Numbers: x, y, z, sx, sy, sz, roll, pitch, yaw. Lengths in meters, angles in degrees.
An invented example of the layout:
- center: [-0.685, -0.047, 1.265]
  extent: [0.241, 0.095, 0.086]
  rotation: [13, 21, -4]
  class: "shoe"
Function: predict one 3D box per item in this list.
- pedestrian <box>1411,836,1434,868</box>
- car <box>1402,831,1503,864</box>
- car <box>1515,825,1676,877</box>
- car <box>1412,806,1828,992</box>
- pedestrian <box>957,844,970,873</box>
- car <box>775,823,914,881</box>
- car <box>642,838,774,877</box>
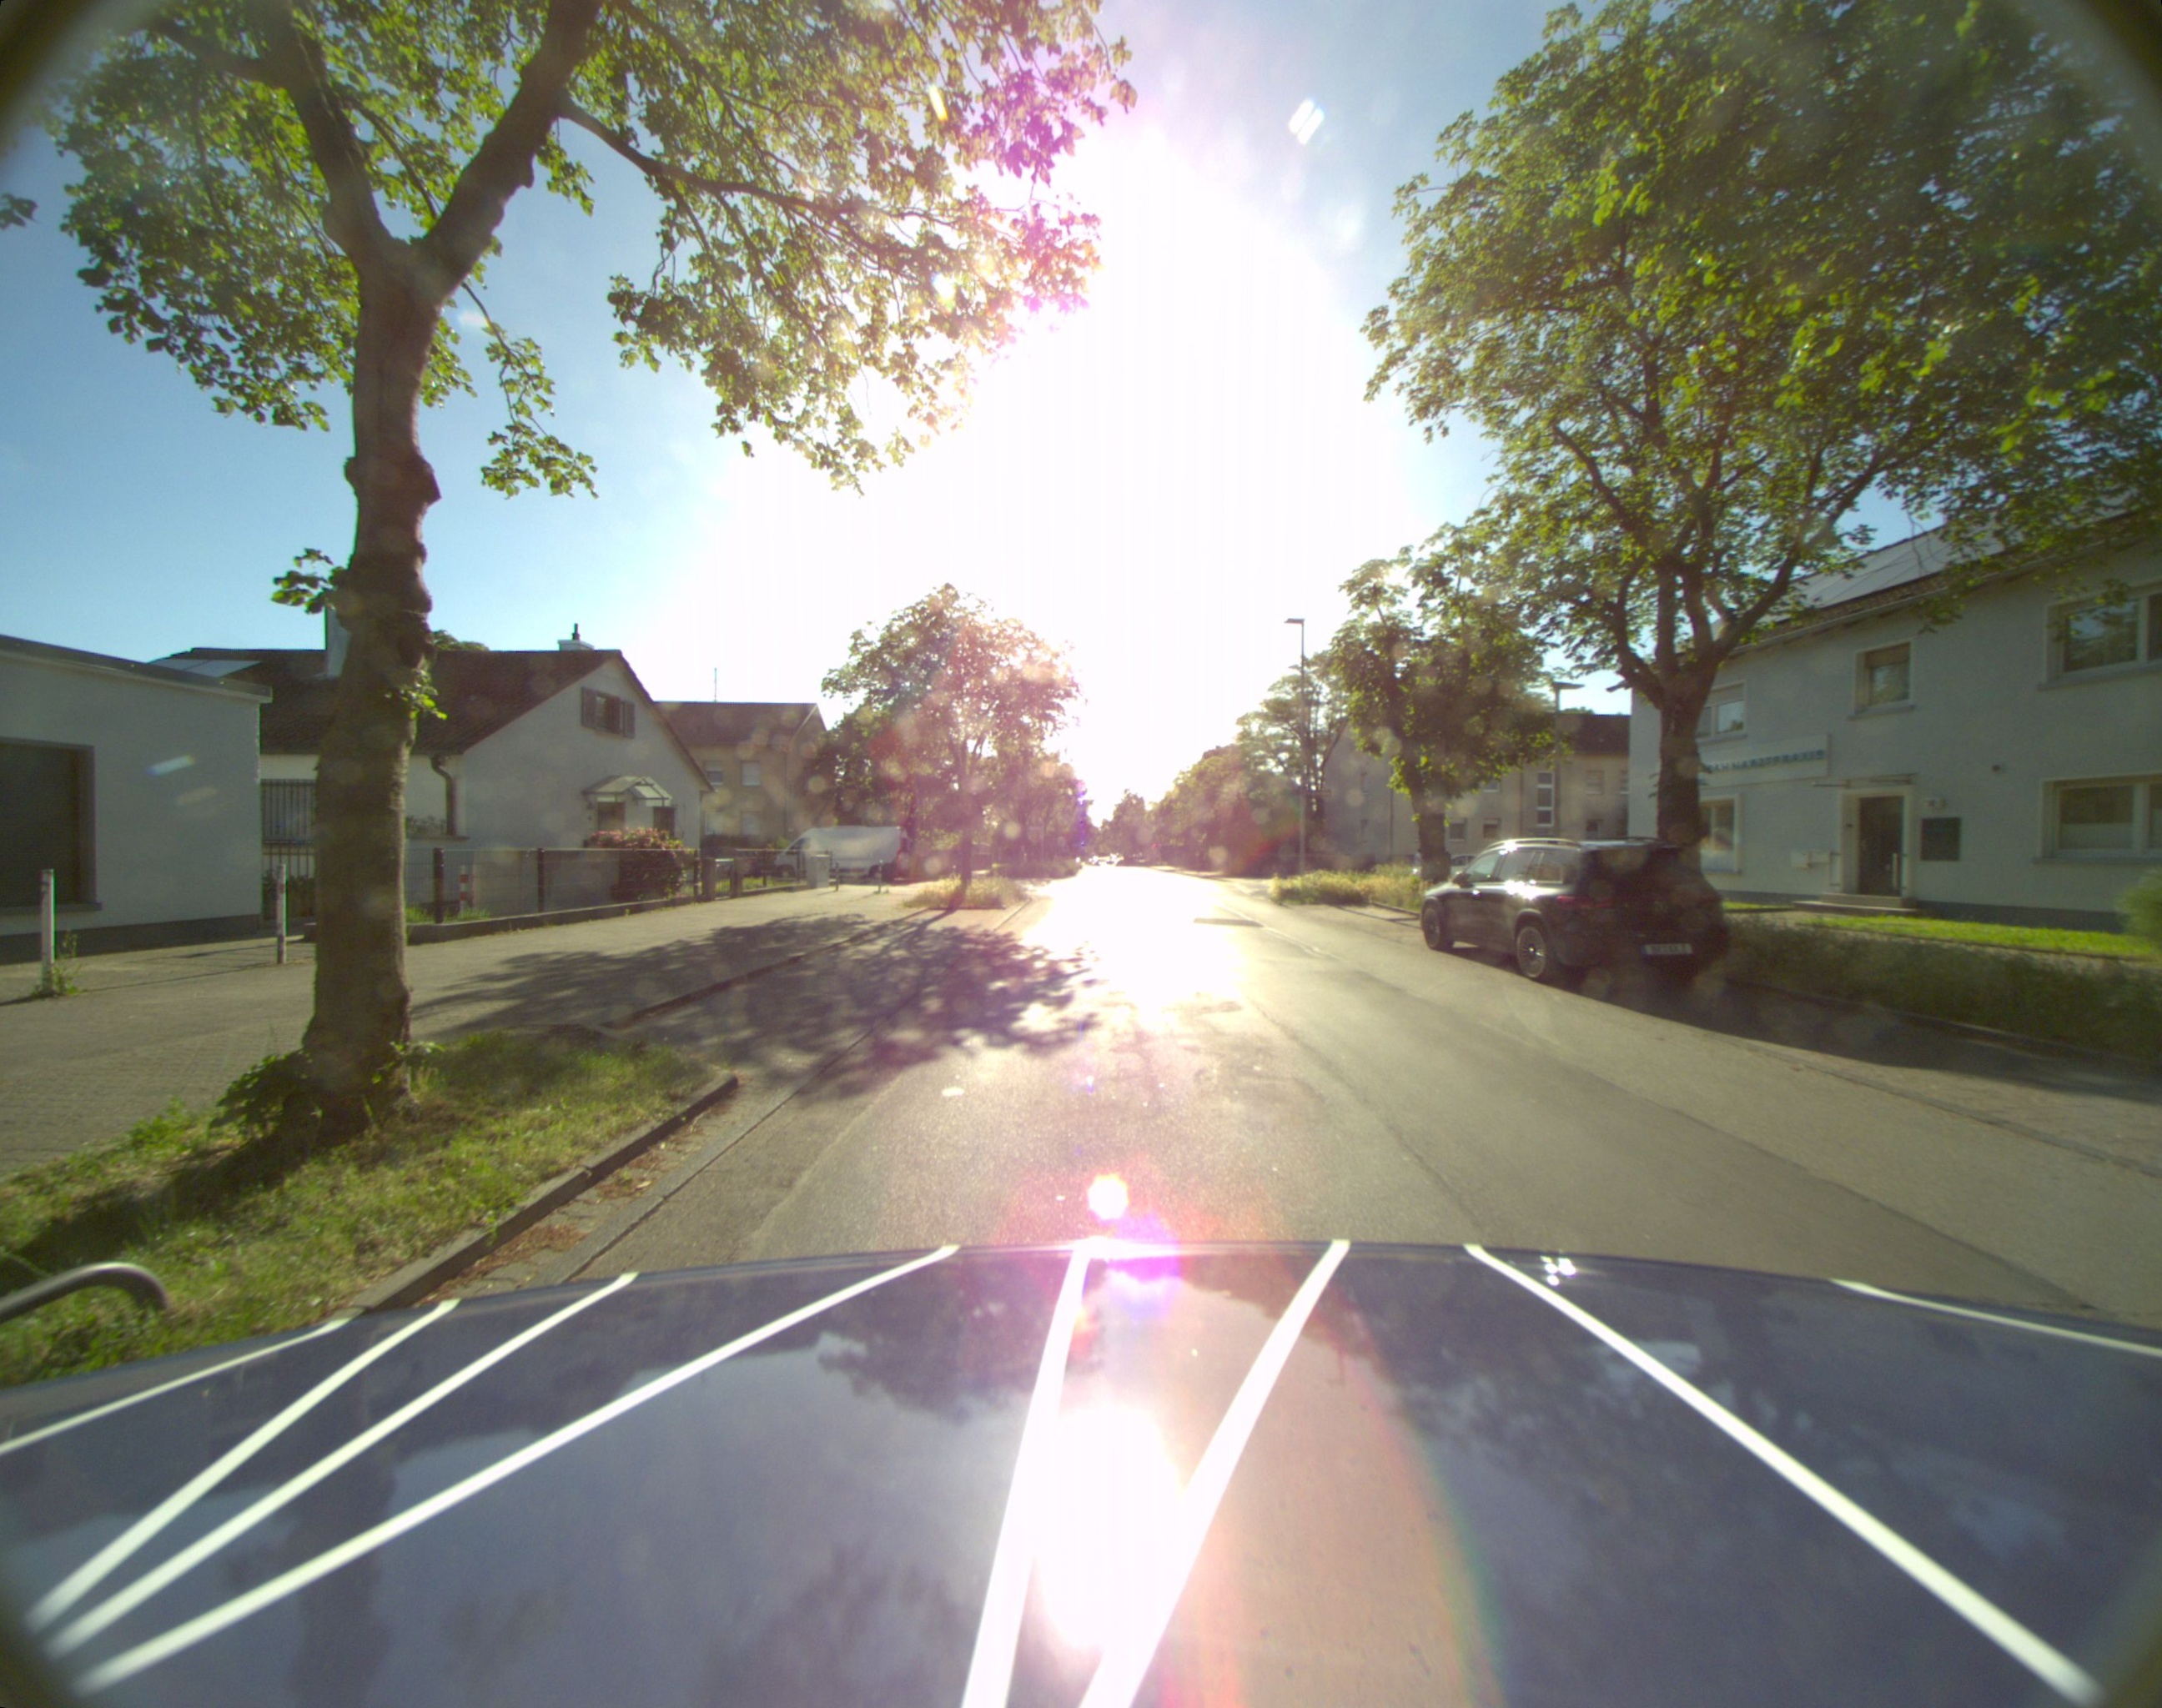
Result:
- center: [16.651, -0.079, 37.089]
  extent: [0.785, 1.544, 0.639]
  rotation: [-2, 0, -2]
  class: "pedestrian"
- center: [17.106, -0.259, 35.092]
  extent: [3.776, 1.470, 1.871]
  rotation: [0, -1, -1]
  class: "car"
- center: [18.602, -0.075, 27.598]
  extent: [4.501, 1.826, 2.000]
  rotation: [0, -2, -2]
  class: "car"
- center: [6.174, 0.400, 9.654]
  extent: [1.958, 1.717, 4.875]
  rotation: [-2, 1, 2]
  class: "car"
- center: [-7.164, 0.270, 46.380]
  extent: [0.638, 1.696, 0.612]
  rotation: [2, 0, 0]
  class: "pedestrian"
- center: [-10.596, -0.106, 34.427]
  extent: [5.610, 2.524, 2.265]
  rotation: [0, 1, -2]
  class: "car"
- center: [-16.687, 0.148, 34.197]
  extent: [4.753, 1.572, 2.285]
  rotation: [-2, 0, -2]
  class: "car"
